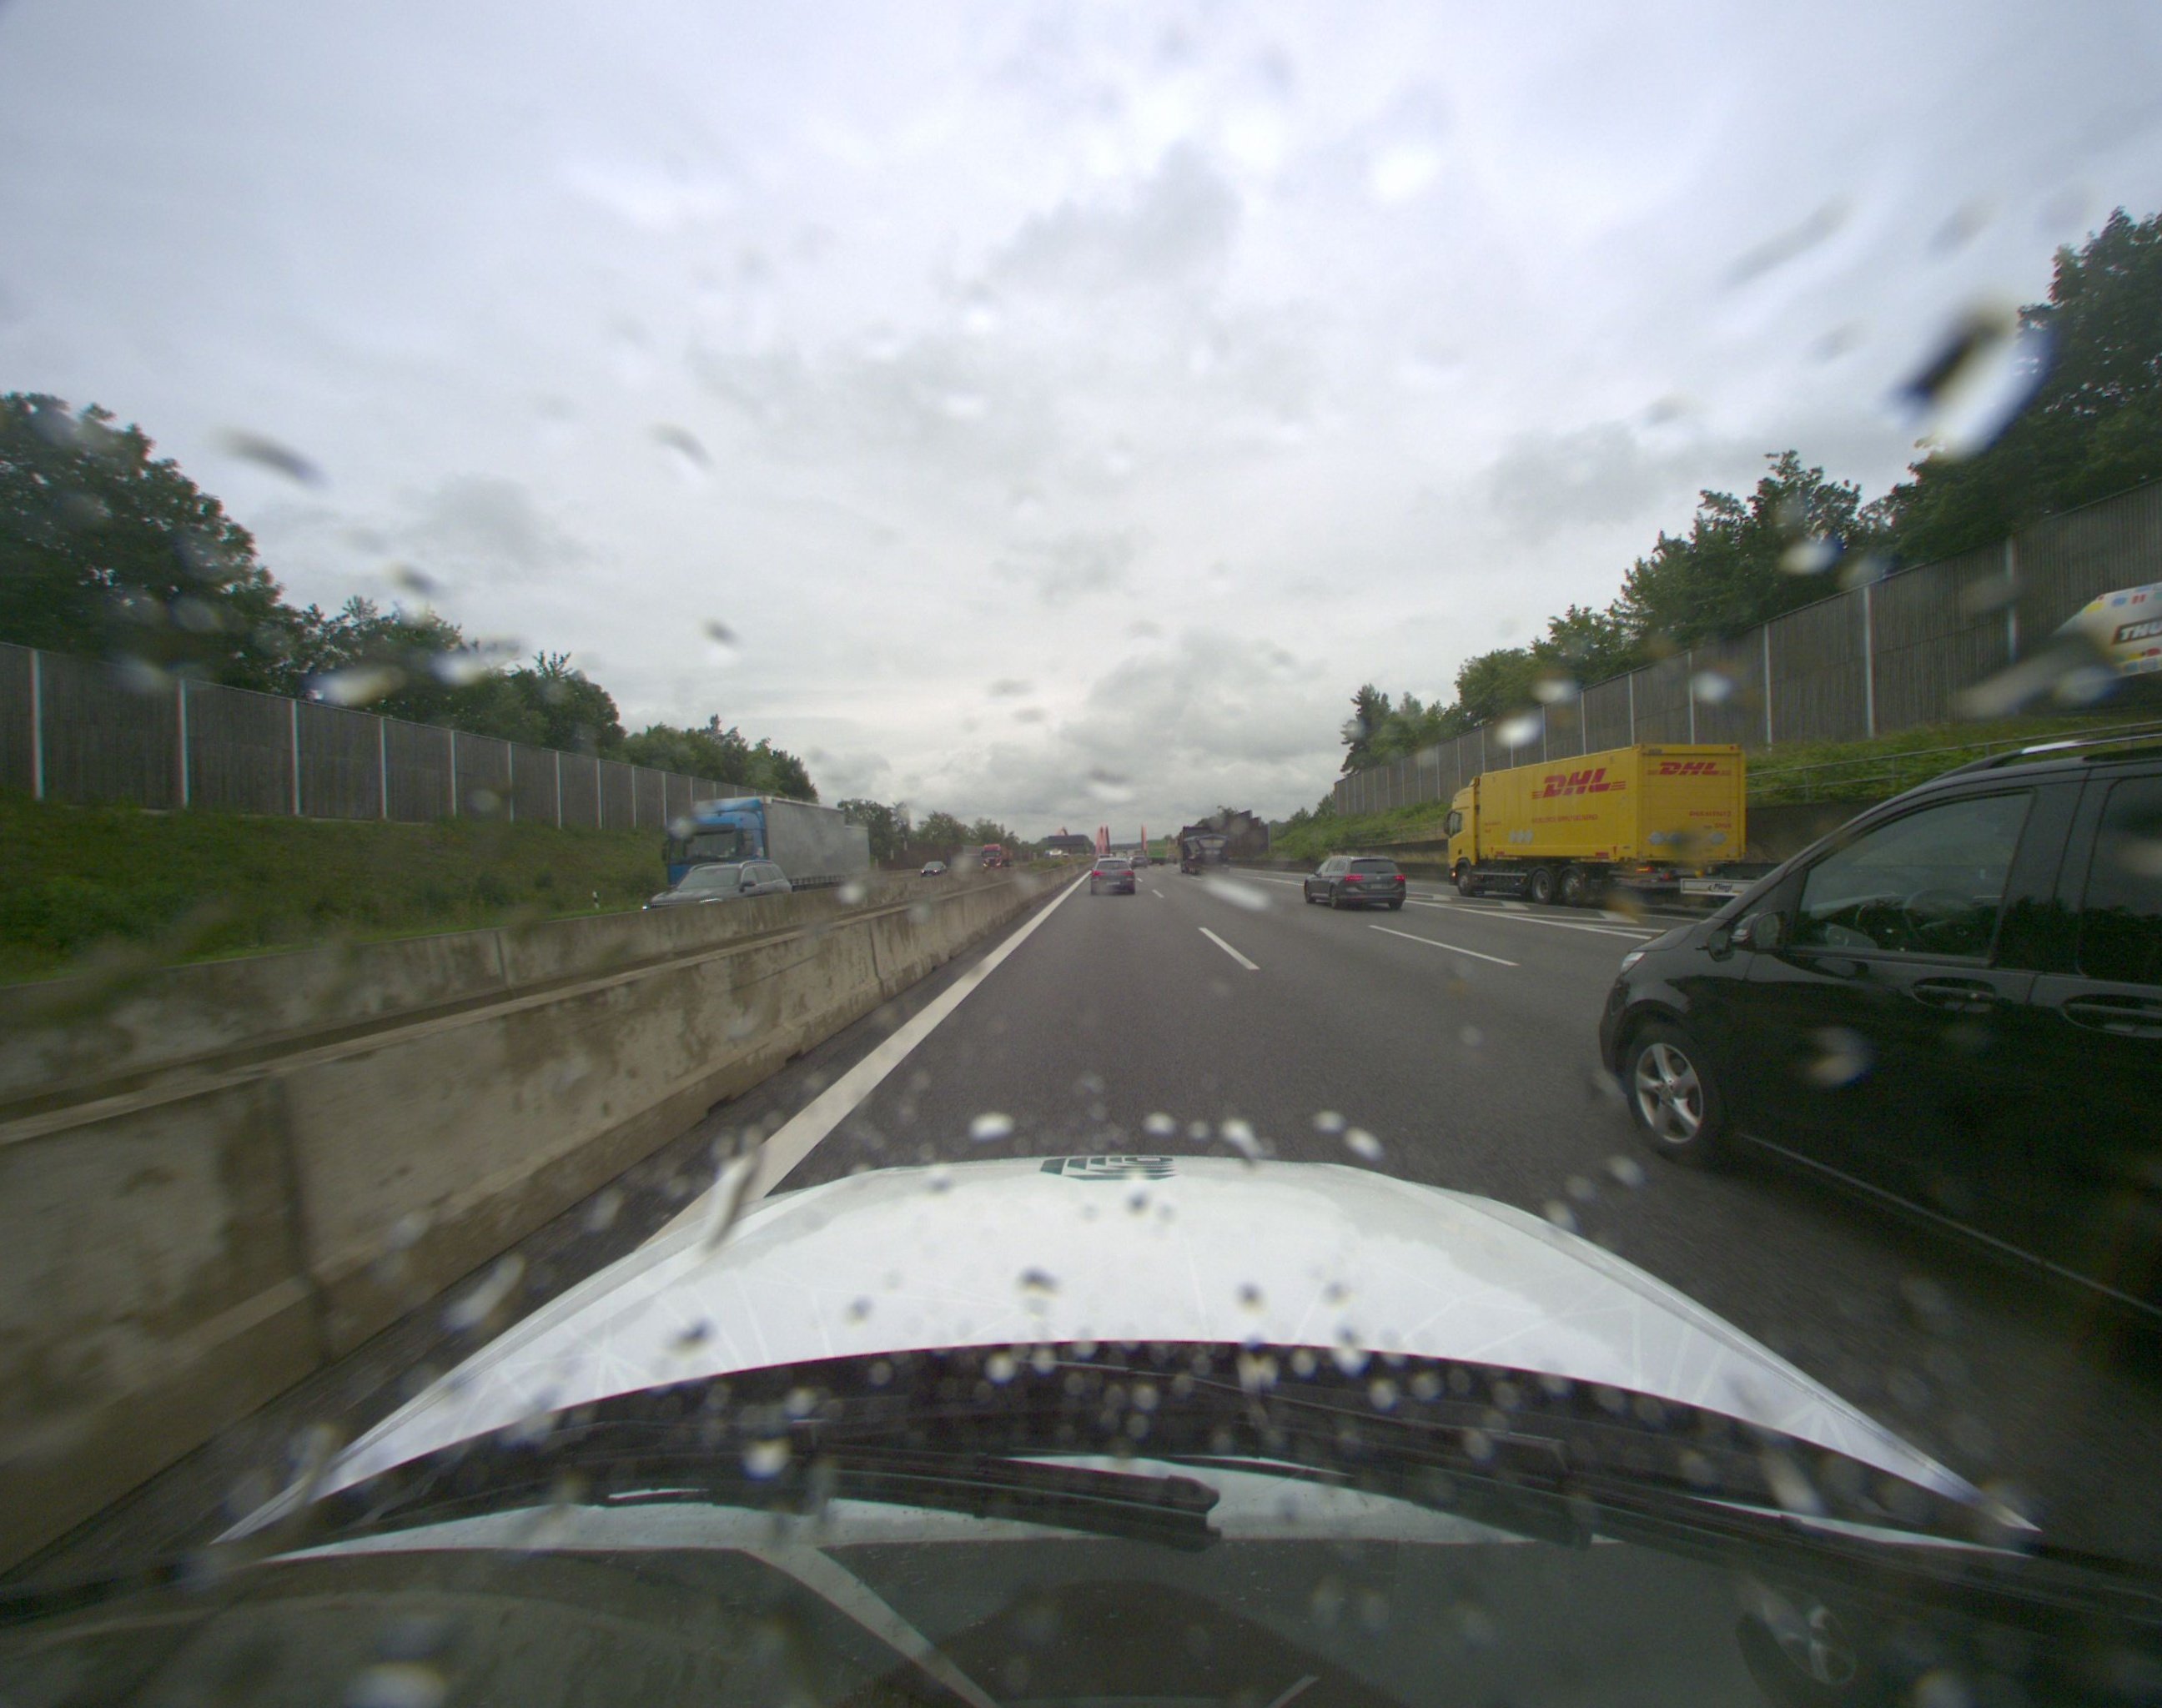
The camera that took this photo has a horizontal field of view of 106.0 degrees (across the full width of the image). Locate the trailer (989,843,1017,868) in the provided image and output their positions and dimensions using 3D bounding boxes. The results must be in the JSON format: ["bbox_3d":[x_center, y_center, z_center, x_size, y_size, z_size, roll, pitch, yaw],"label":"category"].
[{"bbox_3d":[-12.382,0.203,129.833,2.716,3.683,12.569,-2,0,2],"label":"trailer"}]

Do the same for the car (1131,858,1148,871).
[{"bbox_3d":[6.673,1.146,92.712,1.775,1.406,3.628,-1,0,2],"label":"car"}]

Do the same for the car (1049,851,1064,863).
[{"bbox_3d":[-4.653,0.585,156.453,2.365,2.193,7.727,-2,-1,2],"label":"car"}]

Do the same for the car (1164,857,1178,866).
[{"bbox_3d":[15.177,1.224,137.746,1.986,1.354,4.001,-2,0,2],"label":"car"}]

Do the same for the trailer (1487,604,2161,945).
[{"bbox_3d":[13.985,-0.864,17.297,2.641,3.953,16.687,0,0,1],"label":"trailer"}]

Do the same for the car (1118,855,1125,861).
[{"bbox_3d":[12.207,1.151,244.105,1.985,1.815,4.003,-1,0,3],"label":"car"}]

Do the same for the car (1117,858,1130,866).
[{"bbox_3d":[7.471,1.444,143.341,1.986,1.354,4.001,-2,0,1],"label":"car"}]

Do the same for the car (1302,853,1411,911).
[{"bbox_3d":[7.616,0.727,22.973,1.657,1.456,4.471,0,0,1],"label":"car"}]

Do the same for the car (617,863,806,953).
[{"bbox_3d":[-8.412,1.134,19.189,1.986,1.736,5.004,-2,0,2],"label":"car"}]

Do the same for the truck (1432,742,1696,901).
[{"bbox_3d":[14.080,-0.781,25.008,2.676,3.958,9.327,0,0,1],"label":"truck"}]

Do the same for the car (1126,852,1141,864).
[{"bbox_3d":[7.256,0.546,112.690,1.986,1.662,4.002,0,0,2],"label":"car"}]

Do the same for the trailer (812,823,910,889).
[{"bbox_3d":[-14.833,0.140,56.231,2.893,3.935,12.448,-2,0,2],"label":"trailer"}]

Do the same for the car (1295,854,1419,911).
[{"bbox_3d":[7.702,0.718,23.304,1.932,1.427,5.291,0,0,2],"label":"car"}]

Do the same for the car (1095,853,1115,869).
[{"bbox_3d":[2.519,0.711,85.277,1.986,1.585,4.001,-2,0,2],"label":"car"}]

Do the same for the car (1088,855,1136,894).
[{"bbox_3d":[1.201,0.781,32.503,1.757,1.453,4.001,-1,0,1],"label":"car"}]

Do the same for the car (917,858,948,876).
[{"bbox_3d":[-14.271,1.222,78.527,1.986,1.537,4.483,-2,0,2],"label":"car"}]

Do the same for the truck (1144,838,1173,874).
[{"bbox_3d":[11.746,0.281,124.580,3.981,5.266,11.227,0,-1,3],"label":"truck"}]

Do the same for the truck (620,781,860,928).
[{"bbox_3d":[-11.790,0.056,30.374,3.139,4.325,12.686,0,0,2],"label":"truck"}]

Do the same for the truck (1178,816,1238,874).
[{"bbox_3d":[9.730,-0.586,63.802,3.077,3.950,12.952,-2,-1,2],"label":"truck"}]

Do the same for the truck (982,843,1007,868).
[{"bbox_3d":[-12.882,0.223,121.183,2.685,3.707,6.485,0,-1,3],"label":"truck"}]

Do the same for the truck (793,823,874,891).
[{"bbox_3d":[-15.045,0.174,49.945,2.878,3.796,5.892,-2,0,2],"label":"truck"}]

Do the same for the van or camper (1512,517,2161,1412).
[{"bbox_3d":[3.696,0.281,2.504,1.883,2.270,5.681,0,0,2],"label":"van or camper"}]
